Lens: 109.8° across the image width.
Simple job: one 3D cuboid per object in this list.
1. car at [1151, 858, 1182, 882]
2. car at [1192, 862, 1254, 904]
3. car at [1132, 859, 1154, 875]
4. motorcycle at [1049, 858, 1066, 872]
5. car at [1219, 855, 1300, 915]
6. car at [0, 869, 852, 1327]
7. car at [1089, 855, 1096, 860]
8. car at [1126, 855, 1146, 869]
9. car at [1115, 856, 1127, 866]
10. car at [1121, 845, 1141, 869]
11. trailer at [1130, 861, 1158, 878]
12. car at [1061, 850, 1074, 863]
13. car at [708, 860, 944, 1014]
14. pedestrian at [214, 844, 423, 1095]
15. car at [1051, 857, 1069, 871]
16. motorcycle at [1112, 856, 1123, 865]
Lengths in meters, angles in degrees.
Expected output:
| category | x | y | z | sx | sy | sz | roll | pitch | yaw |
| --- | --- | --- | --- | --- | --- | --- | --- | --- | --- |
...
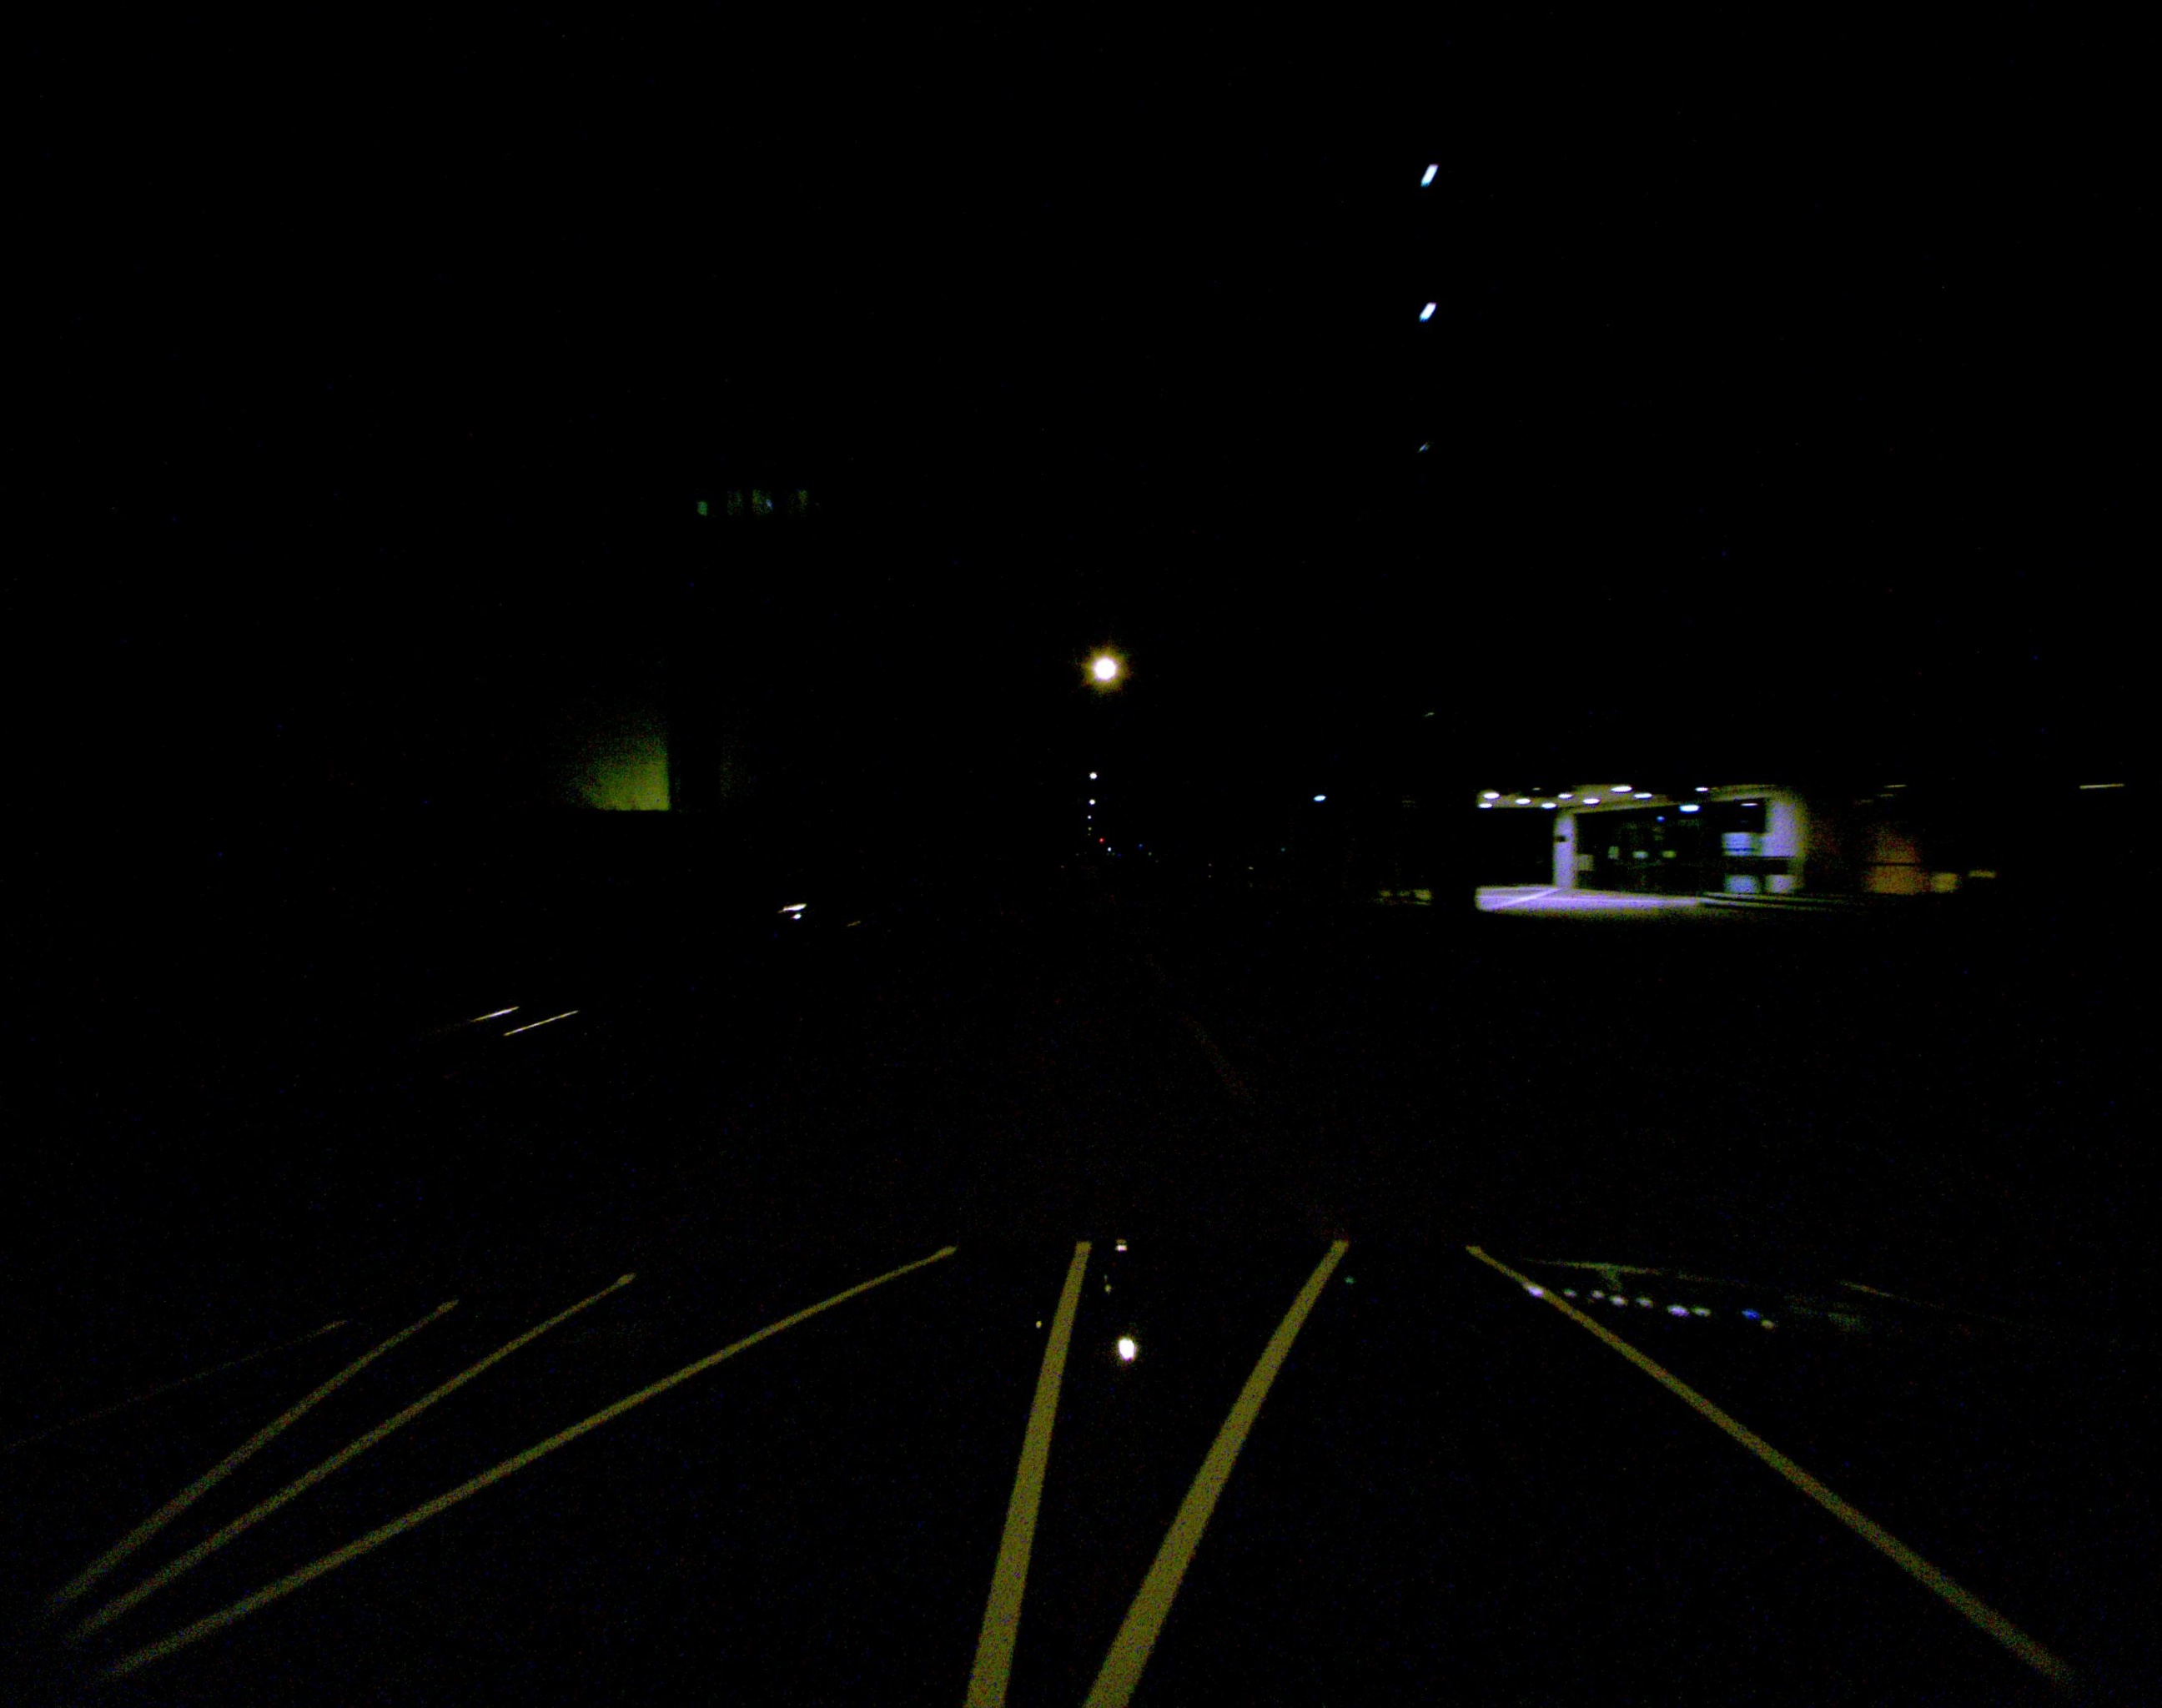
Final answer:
| category | x | y | z | sx | sy | sz | roll | pitch | yaw |
| --- | --- | --- | --- | --- | --- | --- | --- | --- | --- |
| car | 5.921 | 1.088 | 53.054 | 1.826 | 1.589 | 4.073 | -1 | 0 | 2 |
| car | 5.732 | 1.126 | 31.031 | 1.704 | 1.425 | 3.828 | -5 | 0 | 0 |
| car | 6.201 | 1.284 | 76.374 | 1.721 | 1.493 | 4.205 | -3 | 0 | 0 |
| motorcycle | -2.345 | 1.076 | 75.356 | 0.930 | 1.276 | 2.230 | -2 | 1 | -24 |
| car | 5.848 | 0.944 | 25.364 | 1.826 | 1.801 | 4.210 | -1 | 0 | 2 |
| car | -3.098 | 0.954 | 4.946 | 1.858 | 1.595 | 4.209 | 1 | 0 | 1 |
| car | 3.784 | 1.089 | 250.314 | 1.936 | 1.646 | 3.833 | 0 | 0 | 0 |
| car | 6.235 | 0.886 | 86.652 | 1.746 | 1.597 | 4.297 | -1 | 0 | -2 |
| car | 6.602 | 1.144 | 125.306 | 1.646 | 1.495 | 3.903 | -3 | 0 | 0 |
| car | 6.388 | 0.389 | 97.852 | 2.184 | 2.892 | 4.909 | -2 | 0 | 0 |
| trailer | 5.603 | 1.368 | 68.330 | 2.115 | 1.327 | 5.435 | -3 | 0 | 2 |
| car | -2.212 | 0.394 | 123.399 | 1.956 | 1.952 | 4.603 | -1 | 0 | 0 |
| car | -3.182 | 0.929 | 10.465 | 1.858 | 1.644 | 4.208 | 1 | 0 | -1 |
| pedestrian | -5.590 | 0.795 | 5.623 | 0.707 | 1.712 | 0.821 | 1 | 1 | 1 |
| car | -2.217 | 1.052 | 81.255 | 1.672 | 1.420 | 4.148 | 1 | 0 | 3 |
| motorcycle | 6.509 | 1.102 | 134.865 | 1.909 | 1.541 | 0.638 | -2 | 1 | -19 |
